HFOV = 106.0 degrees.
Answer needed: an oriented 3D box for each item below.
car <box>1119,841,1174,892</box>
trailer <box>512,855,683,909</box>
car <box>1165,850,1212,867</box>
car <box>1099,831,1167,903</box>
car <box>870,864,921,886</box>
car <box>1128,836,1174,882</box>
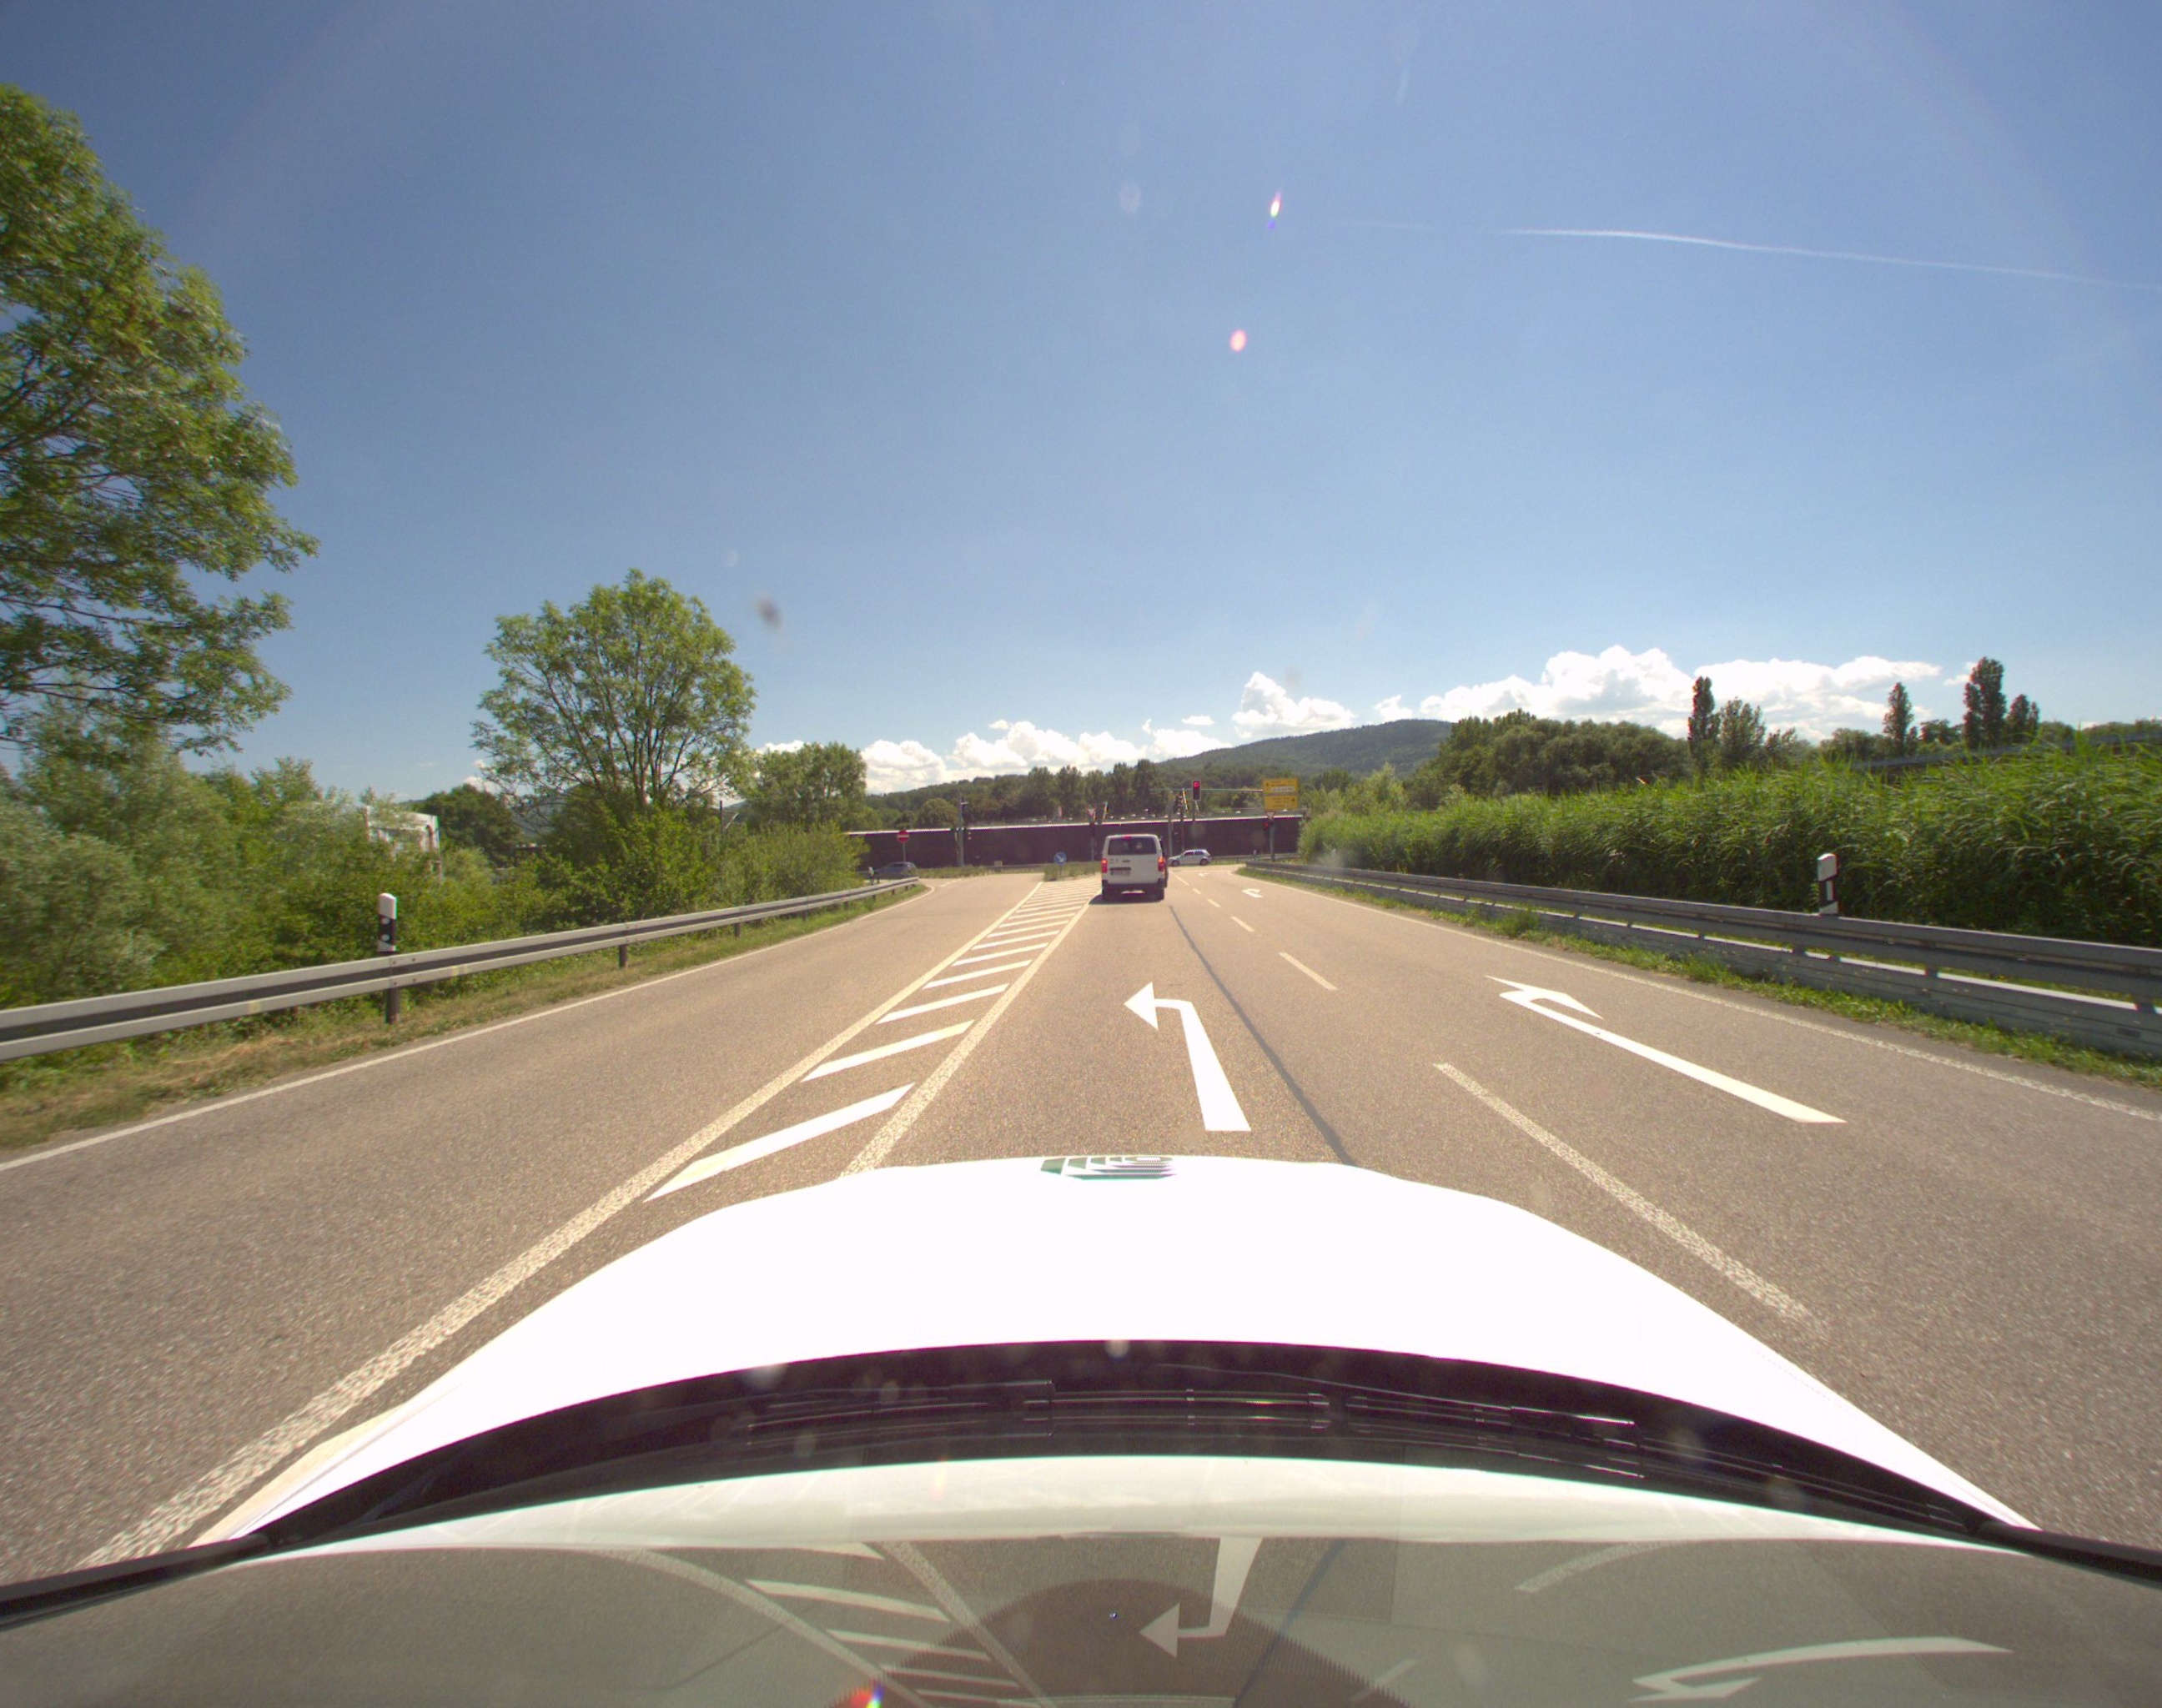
[{"bbox_3d":[2.624,0.461,32.817,1.985,1.812,4.004,-4,0,4],"label":"car"},{"bbox_3d":[-39.139,2.240,66.160,12.280,3.504,2.233,-4,1,0],"label":"trailer"},{"bbox_3d":[9.461,0.365,71.971,3.970,1.349,1.850,-1,2,3],"label":"car"},{"bbox_3d":[1.580,0.356,24.877,1.862,1.964,4.004,-2,0,4],"label":"car"},{"bbox_3d":[-16.566,1.890,72.668,3.971,1.769,2.001,-2,0,2],"label":"car"},{"bbox_3d":[3.387,0.244,39.565,1.985,2.013,4.004,-4,0,4],"label":"car"}]
